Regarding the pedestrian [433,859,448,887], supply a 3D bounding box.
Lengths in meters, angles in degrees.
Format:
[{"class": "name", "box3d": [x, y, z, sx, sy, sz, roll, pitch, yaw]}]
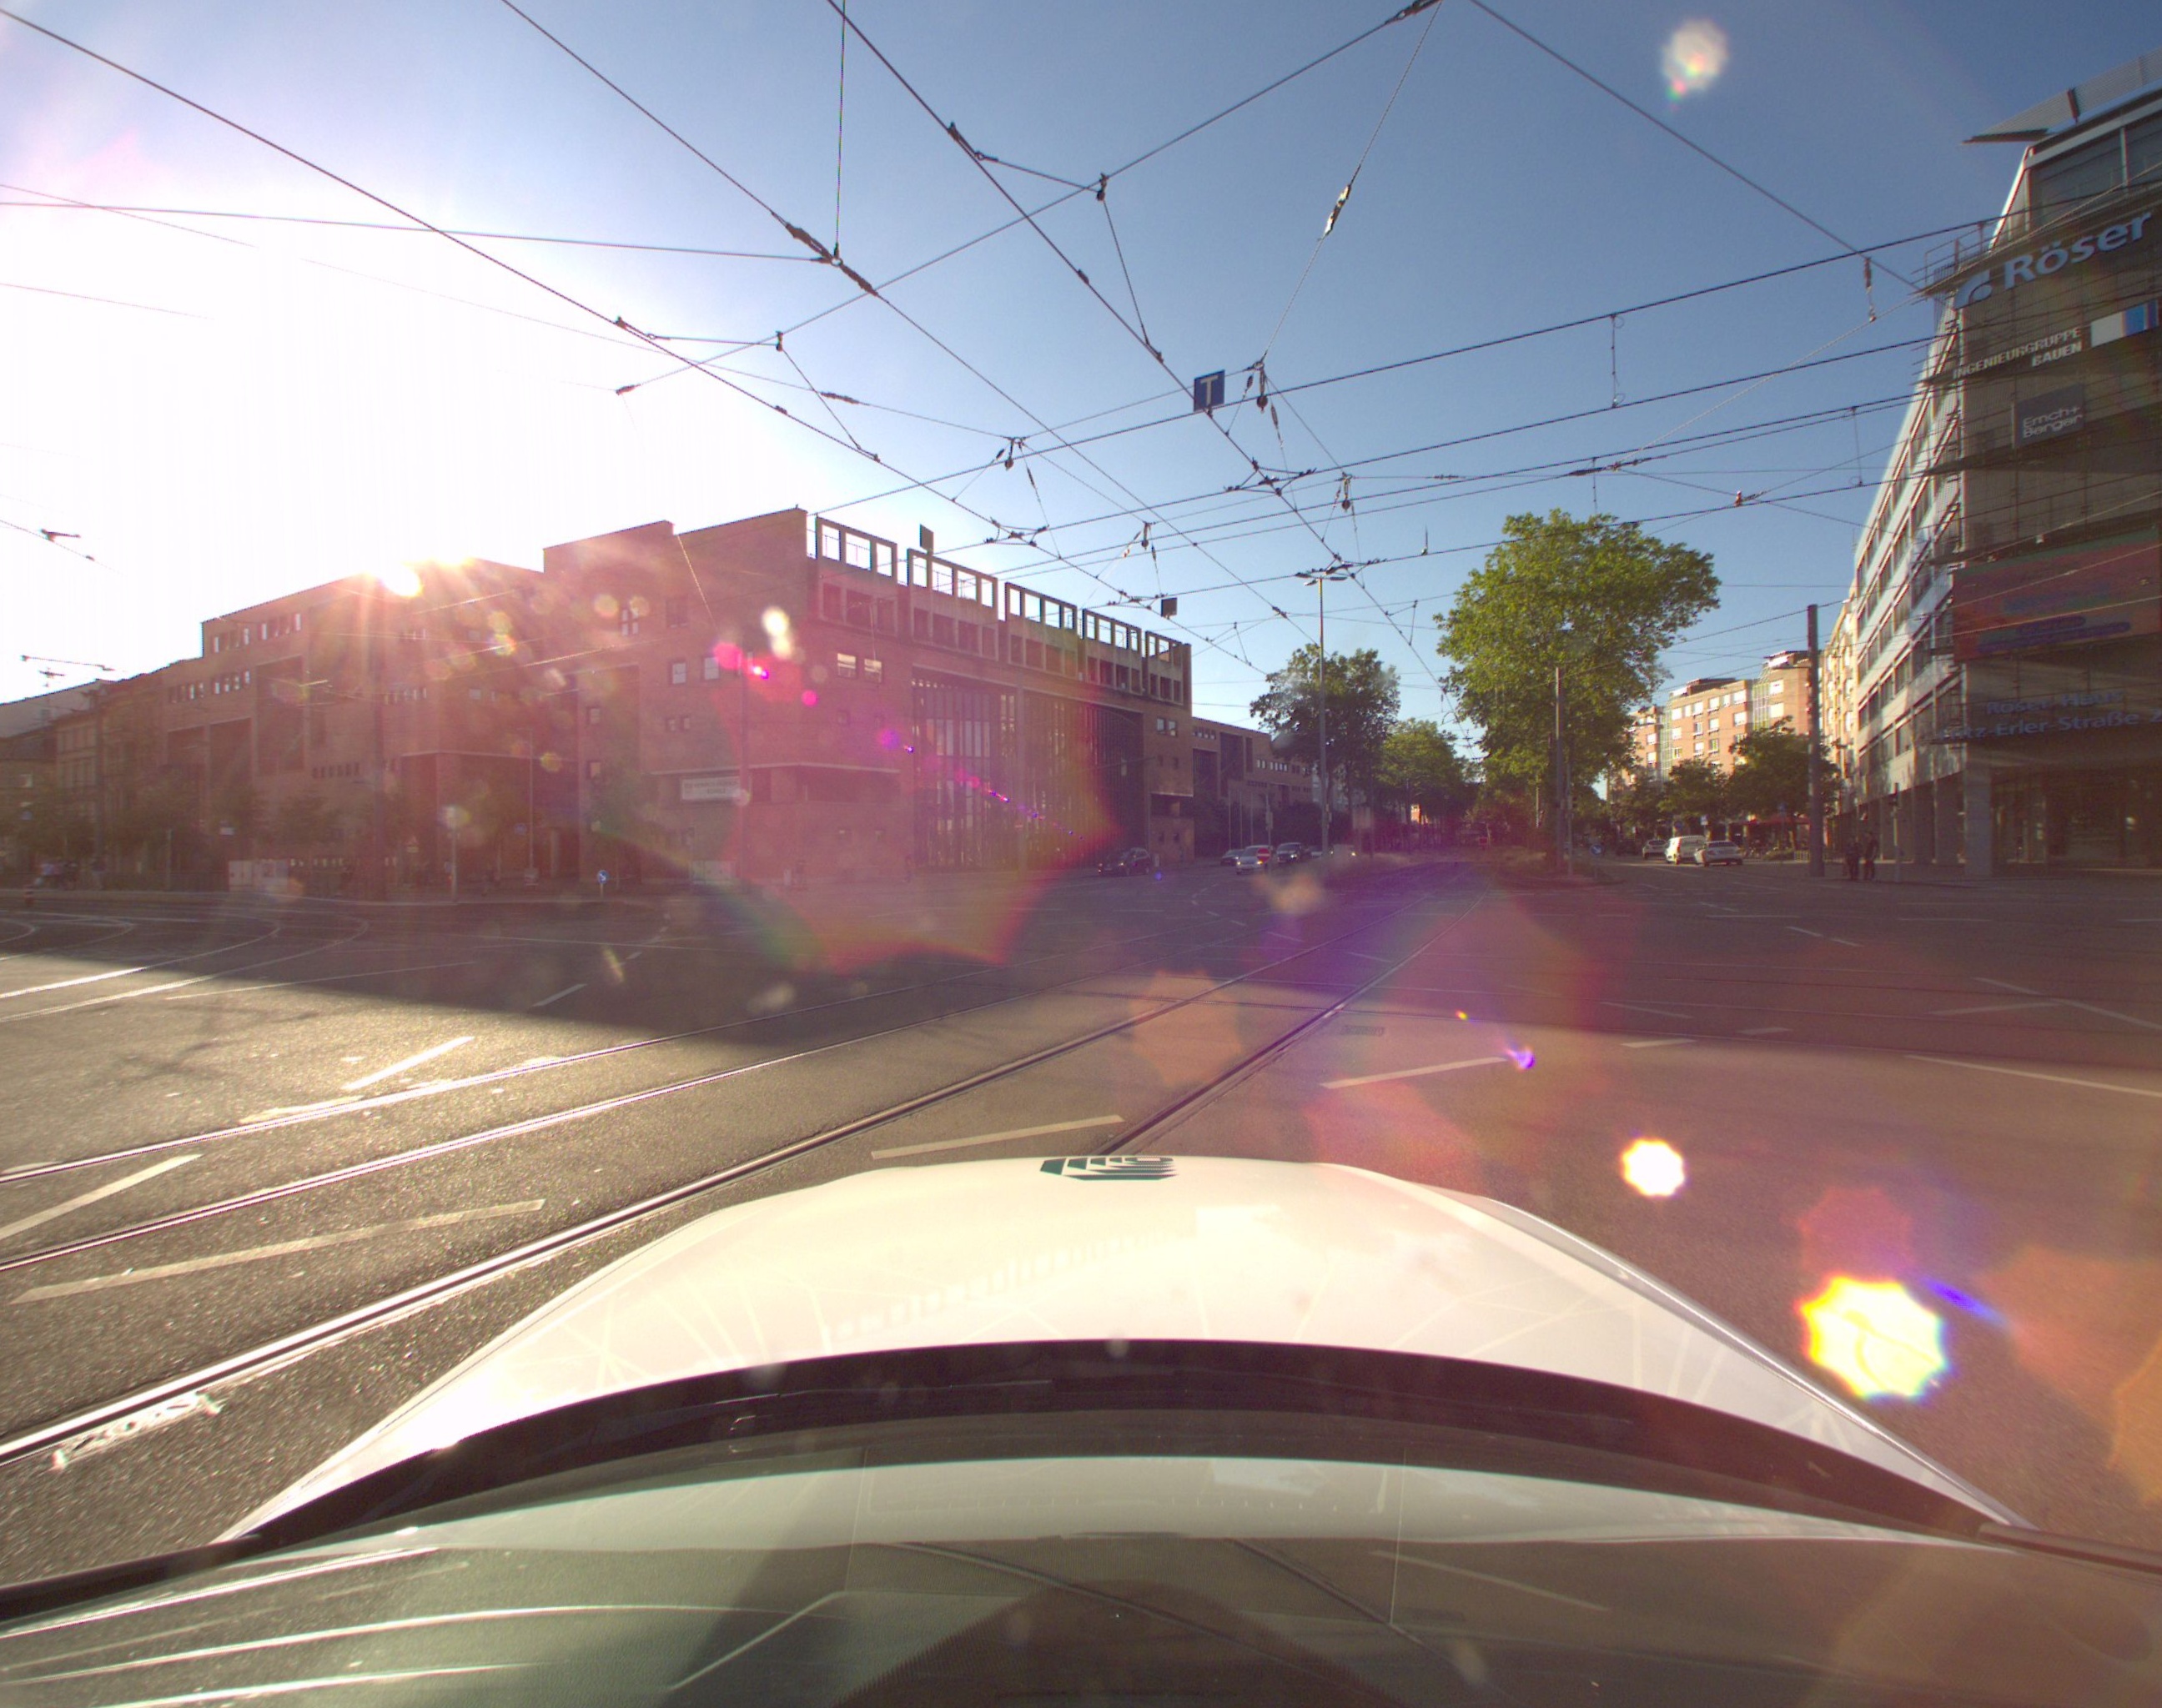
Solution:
[{"class": "pedestrian", "box3d": [-40.178, 1.184, 51.094, 0.686, 1.756, 0.541, -1, 0, 36]}]

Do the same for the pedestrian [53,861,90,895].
[{"class": "pedestrian", "box3d": [-51.009, 1.199, 41.165, 1.082, 1.672, 0.896, -1, 1, 24]}]

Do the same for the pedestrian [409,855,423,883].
[{"class": "pedestrian", "box3d": [-42.261, 0.922, 51.747, 0.416, 1.756, 0.541, -1, 0, 29]}]

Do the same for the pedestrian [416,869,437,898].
[{"class": "pedestrian", "box3d": [-40.320, 1.800, 50.196, 0.687, 1.756, 0.739, -1, 0, 21]}]

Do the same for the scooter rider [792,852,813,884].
[{"class": "scooter rider", "box3d": [-12.885, 0.644, 37.727, 0.714, 1.460, 0.510, -1, 0, 18]}]

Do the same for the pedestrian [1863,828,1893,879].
[{"class": "pedestrian", "box3d": [28.885, -0.032, 29.517, 0.539, 1.823, 0.591, -1, 0, 13]}]

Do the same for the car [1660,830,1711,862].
[{"class": "car", "box3d": [40.047, -0.562, 54.052, 1.975, 2.013, 4.412, -1, 1, 27]}]

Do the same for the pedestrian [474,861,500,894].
[{"class": "pedestrian", "box3d": [-28.159, 1.114, 38.584, 0.840, 1.538, 0.720, -1, 1, 34]}]

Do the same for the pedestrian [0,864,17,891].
[{"class": "pedestrian", "box3d": [-64.445, 1.393, 48.777, 0.895, 1.562, 0.679, -1, 0, 26]}]

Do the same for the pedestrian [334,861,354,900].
[{"class": "pedestrian", "box3d": [-29.607, 1.051, 32.712, 0.544, 1.538, 0.494, -1, 1, 40]}]

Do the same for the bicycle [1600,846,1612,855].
[{"class": "bicycle", "box3d": [51.602, -0.341, 80.026, 0.810, 0.774, 1.741, -1, 1, 37]}]

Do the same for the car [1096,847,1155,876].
[{"class": "car", "box3d": [2.836, 0.431, 50.703, 1.816, 1.654, 4.528, -2, 0, 29]}]

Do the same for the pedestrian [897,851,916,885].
[{"class": "pedestrian", "box3d": [-9.079, 0.721, 42.285, 0.825, 1.716, 0.660, -2, 0, -21]}]

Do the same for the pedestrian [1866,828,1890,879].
[{"class": "pedestrian", "box3d": [28.901, -0.007, 29.535, 0.370, 1.823, 0.549, -1, 0, 13]}]

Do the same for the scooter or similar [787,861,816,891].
[{"class": "scooter or similar", "box3d": [-12.970, 1.023, 37.757, 1.120, 1.318, 0.531, -1, 0, 18]}]

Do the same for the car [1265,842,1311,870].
[{"class": "car", "box3d": [13.454, 0.113, 52.806, 1.836, 1.650, 4.352, -1, 1, 29]}]

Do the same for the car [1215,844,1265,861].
[{"class": "car", "box3d": [13.810, -0.121, 70.669, 4.016, 1.376, 1.901, -2, 1, -35]}]

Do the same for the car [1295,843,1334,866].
[{"class": "car", "box3d": [17.243, 0.000, 59.941, 1.836, 1.552, 4.352, -1, 1, 29]}]

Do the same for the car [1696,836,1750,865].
[{"class": "car", "box3d": [37.384, -0.225, 47.510, 1.836, 1.552, 4.352, -1, 1, 30]}]

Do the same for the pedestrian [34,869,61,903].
[{"class": "pedestrian", "box3d": [-52.155, 1.626, 41.102, 0.664, 1.672, 0.662, -1, 0, 24]}]

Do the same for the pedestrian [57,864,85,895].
[{"class": "pedestrian", "box3d": [-49.284, 1.225, 39.739, 0.818, 1.483, 0.688, -1, 0, 27]}]

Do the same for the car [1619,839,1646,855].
[{"class": "car", "box3d": [58.367, -0.754, 86.226, 2.240, 1.552, 4.353, -1, 1, 32]}]

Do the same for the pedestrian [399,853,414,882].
[{"class": "pedestrian", "box3d": [-42.046, 0.834, 50.798, 0.459, 1.756, 0.541, -1, 0, 25]}]

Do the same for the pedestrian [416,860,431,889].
[{"class": "pedestrian", "box3d": [-41.007, 1.287, 50.776, 0.686, 1.756, 0.541, -1, 0, 36]}]

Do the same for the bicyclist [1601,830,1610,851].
[{"class": "bicyclist", "box3d": [51.563, -1.346, 80.077, 0.745, 2.013, 0.748, 0, 1, 37]}]

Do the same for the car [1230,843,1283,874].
[{"class": "car", "box3d": [10.007, 0.231, 46.208, 1.714, 1.597, 4.352, -1, 1, 29]}]

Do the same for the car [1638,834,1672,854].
[{"class": "car", "box3d": [47.533, -0.817, 67.482, 1.836, 1.552, 4.352, -1, 1, 30]}]

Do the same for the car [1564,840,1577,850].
[{"class": "car", "box3d": [83.235, -1.524, 138.488, 1.836, 1.552, 4.353, -1, 1, 31]}]

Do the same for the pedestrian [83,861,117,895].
[{"class": "pedestrian", "box3d": [-48.794, 1.180, 40.506, 0.664, 1.672, 0.896, -1, 1, 24]}]

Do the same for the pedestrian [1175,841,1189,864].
[{"class": "pedestrian", "box3d": [8.643, -0.135, 69.654, 0.760, 2.013, 0.891, -1, 0, -28]}]
